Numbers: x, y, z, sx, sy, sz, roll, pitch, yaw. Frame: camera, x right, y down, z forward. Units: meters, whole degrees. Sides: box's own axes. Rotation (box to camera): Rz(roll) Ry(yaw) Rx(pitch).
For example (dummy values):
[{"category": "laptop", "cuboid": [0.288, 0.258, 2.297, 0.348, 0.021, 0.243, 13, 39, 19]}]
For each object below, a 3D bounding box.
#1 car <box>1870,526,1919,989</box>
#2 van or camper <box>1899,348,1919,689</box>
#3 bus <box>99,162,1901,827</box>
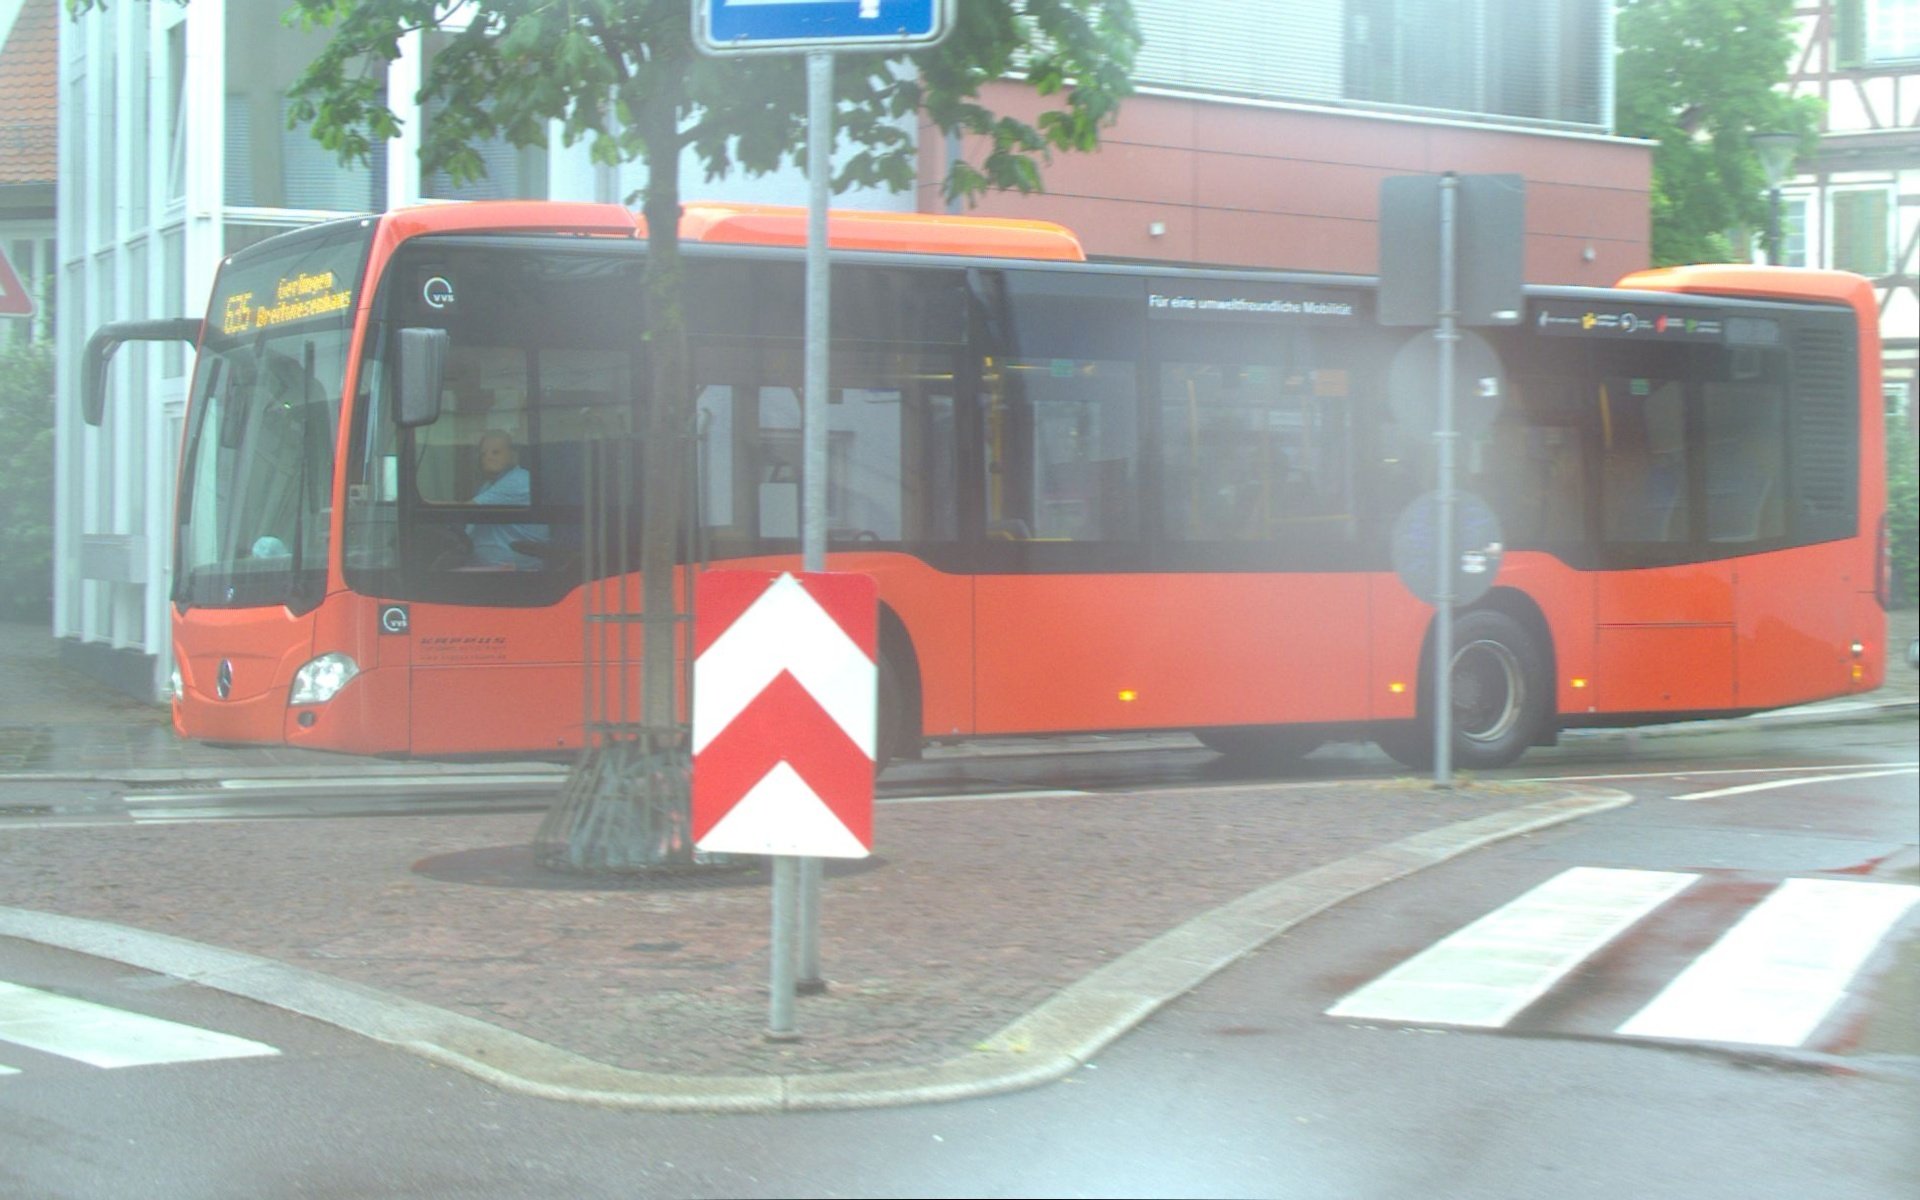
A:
[{"category": "car", "cuboid": [3.751, 0.523, 10.373, 1.522, 1.466, 3.341, 0, 2, 8]}, {"category": "van or camper", "cuboid": [10.228, -0.649, 27.931, 2.443, 2.576, 6.736, 2, 2, 39]}, {"category": "bus", "cuboid": [0.668, -0.666, 19.935, 10.573, 3.078, 2.822, -2, 2, -32]}]
